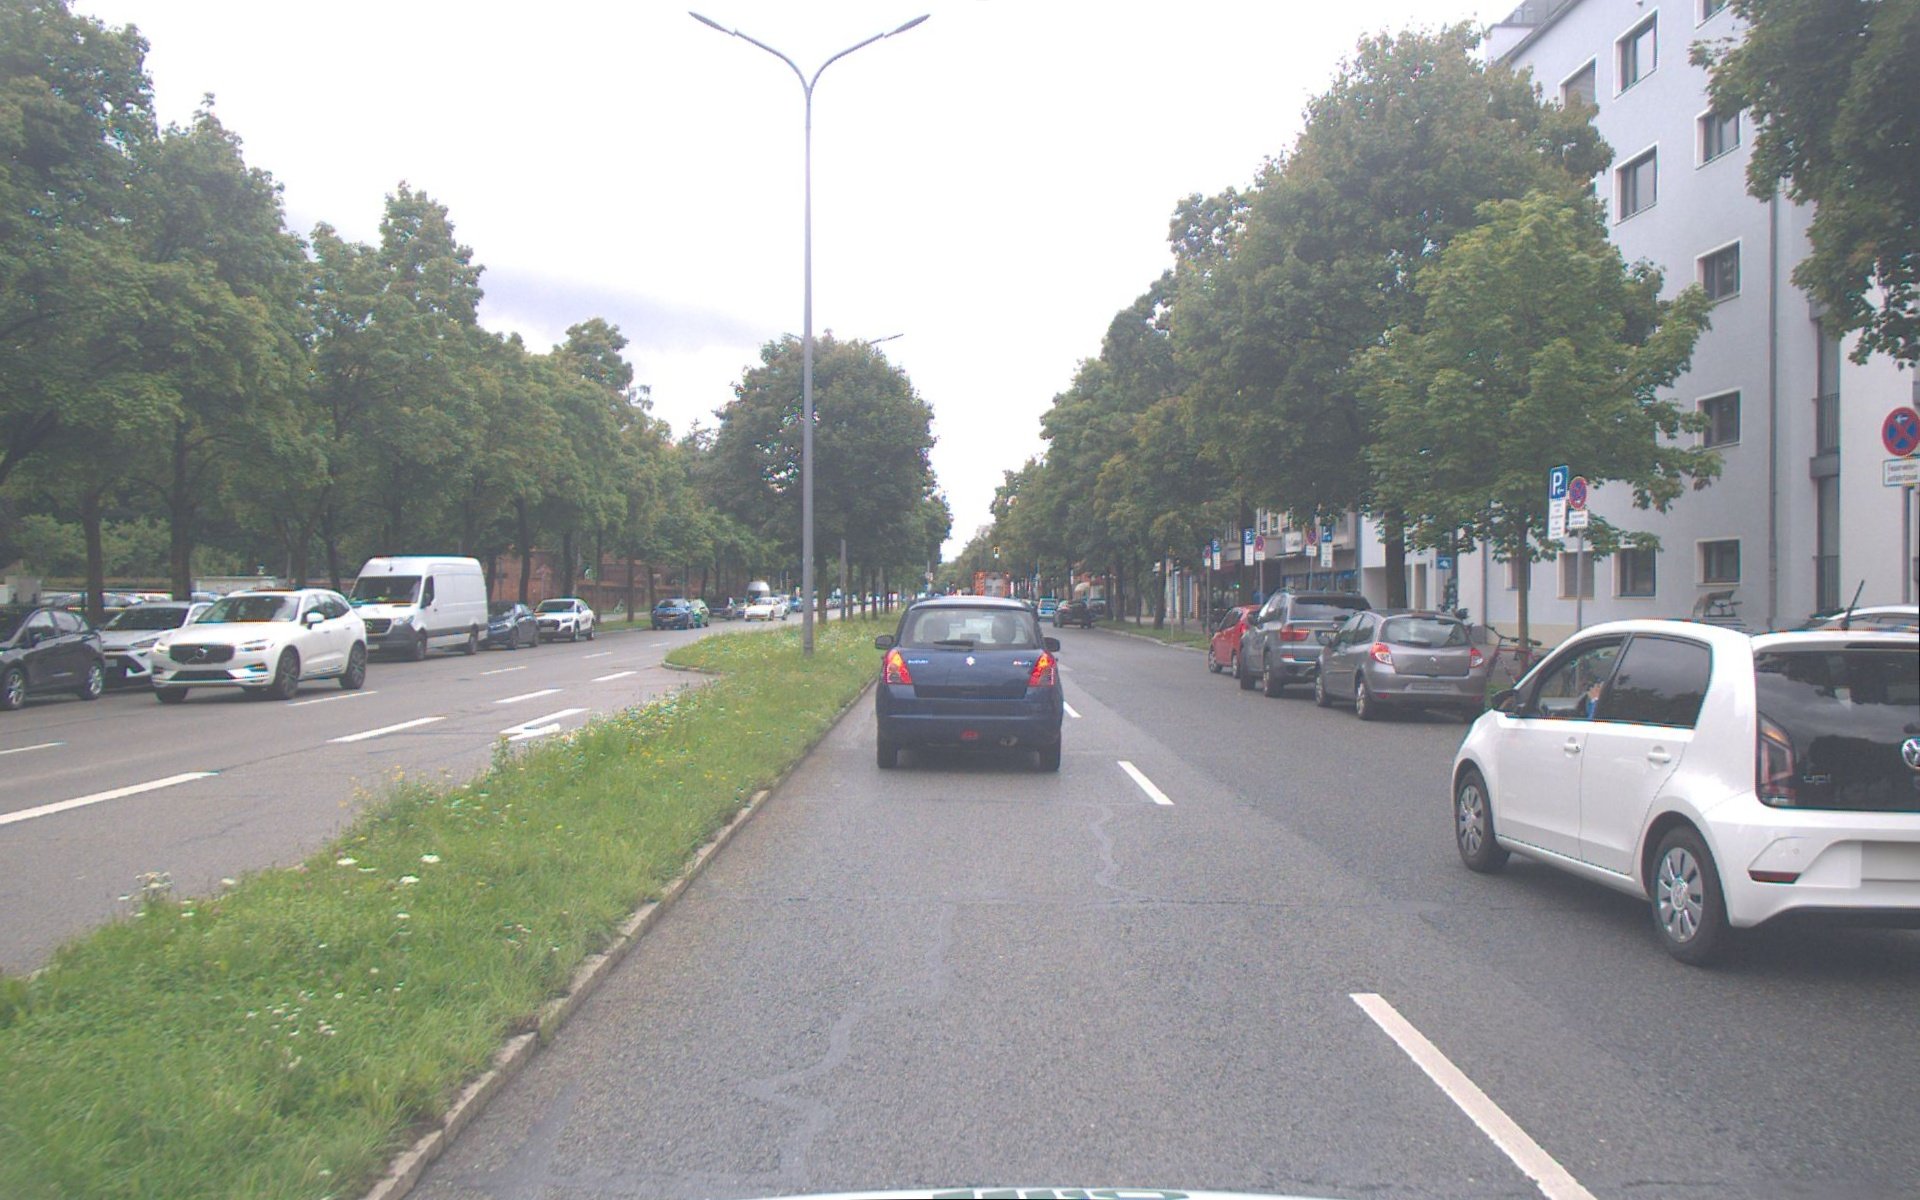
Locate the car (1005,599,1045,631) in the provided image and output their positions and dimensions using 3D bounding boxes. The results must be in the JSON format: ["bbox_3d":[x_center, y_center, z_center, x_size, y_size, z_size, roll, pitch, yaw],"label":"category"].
[{"bbox_3d":[3.330,0.765,85.796,1.784,1.503,4.690,2,0,-1],"label":"car"}]

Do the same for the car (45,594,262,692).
[{"bbox_3d":[-14.093,0.733,29.202,1.785,1.554,4.297,-1,-1,-2],"label":"car"}]

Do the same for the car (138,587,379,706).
[{"bbox_3d":[-10.718,0.657,25.662,1.813,1.628,4.402,-2,0,0],"label":"car"}]

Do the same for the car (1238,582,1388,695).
[{"bbox_3d":[5.986,0.614,28.537,1.791,1.776,4.509,0,0,2],"label":"car"}]

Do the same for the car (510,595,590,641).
[{"bbox_3d":[-14.109,0.642,57.159,1.820,1.517,4.140,0,-1,-2],"label":"car"}]

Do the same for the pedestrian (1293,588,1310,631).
[{"bbox_3d":[13.358,0.350,64.659,0.530,1.669,0.724,0,0,0],"label":"pedestrian"}]

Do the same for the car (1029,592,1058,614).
[{"bbox_3d":[5.680,0.172,113.122,1.620,1.477,3.998,0,0,-3],"label":"car"}]

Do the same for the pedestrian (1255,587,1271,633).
[{"bbox_3d":[11.744,0.389,64.095,0.489,1.763,0.732,0,0,0],"label":"pedestrian"}]

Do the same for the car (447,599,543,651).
[{"bbox_3d":[-14.245,0.773,50.877,1.820,1.517,4.250,0,-1,-2],"label":"car"}]

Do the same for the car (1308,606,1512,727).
[{"bbox_3d":[6.296,0.881,23.579,1.792,1.549,3.769,0,0,-2],"label":"car"}]

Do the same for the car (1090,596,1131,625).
[{"bbox_3d":[8.712,0.580,96.134,1.953,1.671,4.333,0,0,0],"label":"car"}]

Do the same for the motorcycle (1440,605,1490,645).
[{"bbox_3d":[14.256,0.697,46.783,0.745,1.105,2.199,0,0,0],"label":"motorcycle"}]

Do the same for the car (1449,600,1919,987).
[{"bbox_3d":[3.870,0.771,8.310,1.653,1.516,3.433,0,0,-3],"label":"car"}]

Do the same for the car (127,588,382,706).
[{"bbox_3d":[-10.855,0.664,25.869,1.983,1.648,4.683,-1,0,0],"label":"car"}]

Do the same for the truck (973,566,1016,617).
[{"bbox_3d":[2.537,-0.656,125.853,2.979,3.619,13.674,1,0,0],"label":"truck"}]

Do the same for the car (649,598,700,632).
[{"bbox_3d":[-14.097,0.701,81.956,1.849,1.564,4.313,-2,0,-2],"label":"car"}]

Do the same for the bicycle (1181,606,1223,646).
[{"bbox_3d":[7.846,0.831,53.779,0.447,1.278,2.138,0,0,-18],"label":"bicycle"}]

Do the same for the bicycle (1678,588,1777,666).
[{"bbox_3d":[15.028,0.505,32.466,0.688,1.432,2.592,-2,0,0],"label":"bicycle"}]

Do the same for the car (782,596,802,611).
[{"bbox_3d":[-16.976,0.354,167.200,1.671,1.561,3.999,0,0,-1],"label":"car"}]

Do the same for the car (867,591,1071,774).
[{"bbox_3d":[0.092,0.694,15.978,1.717,1.531,4.000,0,0,0],"label":"car"}]

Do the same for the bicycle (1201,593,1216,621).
[{"bbox_3d":[13.451,0.378,89.434,0.568,1.489,1.688,0,0,0],"label":"bicycle"}]

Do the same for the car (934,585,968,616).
[{"bbox_3d":[-0.490,0.022,85.150,1.683,1.527,4.300,1,0,-1],"label":"car"}]

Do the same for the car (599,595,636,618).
[{"bbox_3d":[-23.961,0.434,115.831,1.777,1.563,4.297,1,0,-1],"label":"car"}]

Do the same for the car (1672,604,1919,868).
[{"bbox_3d":[6.580,0.821,10.835,1.792,1.549,4.522,0,0,-2],"label":"car"}]

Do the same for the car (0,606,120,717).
[{"bbox_3d":[-13.951,0.849,23.909,1.786,1.473,3.996,-1,0,-5],"label":"car"}]

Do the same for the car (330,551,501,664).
[{"bbox_3d":[-14.153,0.140,43.532,2.096,2.690,7.105,-1,0,0],"label":"car"}]

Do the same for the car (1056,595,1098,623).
[{"bbox_3d":[6.232,0.452,88.544,1.953,1.477,4.000,0,0,0],"label":"car"}]

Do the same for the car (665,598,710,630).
[{"bbox_3d":[-14.263,0.731,86.680,1.605,1.564,4.314,-2,0,-1],"label":"car"}]

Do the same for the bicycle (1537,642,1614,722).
[{"bbox_3d":[8.058,1.054,21.691,0.377,0.963,1.675,0,0,0],"label":"bicycle"}]

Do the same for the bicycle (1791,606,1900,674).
[{"bbox_3d":[15.022,0.655,28.119,0.609,1.064,2.195,-3,0,0],"label":"bicycle"}]

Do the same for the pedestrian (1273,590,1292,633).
[{"bbox_3d":[12.493,0.447,64.076,0.537,1.658,0.641,-1,0,0],"label":"pedestrian"}]

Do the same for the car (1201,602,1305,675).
[{"bbox_3d":[6.221,0.777,35.474,1.490,1.466,4.000,0,0,0],"label":"car"}]

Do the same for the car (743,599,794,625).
[{"bbox_3d":[-12.458,0.752,107.601,1.724,1.564,4.318,-2,0,16],"label":"car"}]

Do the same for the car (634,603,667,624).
[{"bbox_3d":[-24.040,1.064,128.480,1.777,1.563,4.440,1,0,-1],"label":"car"}]
